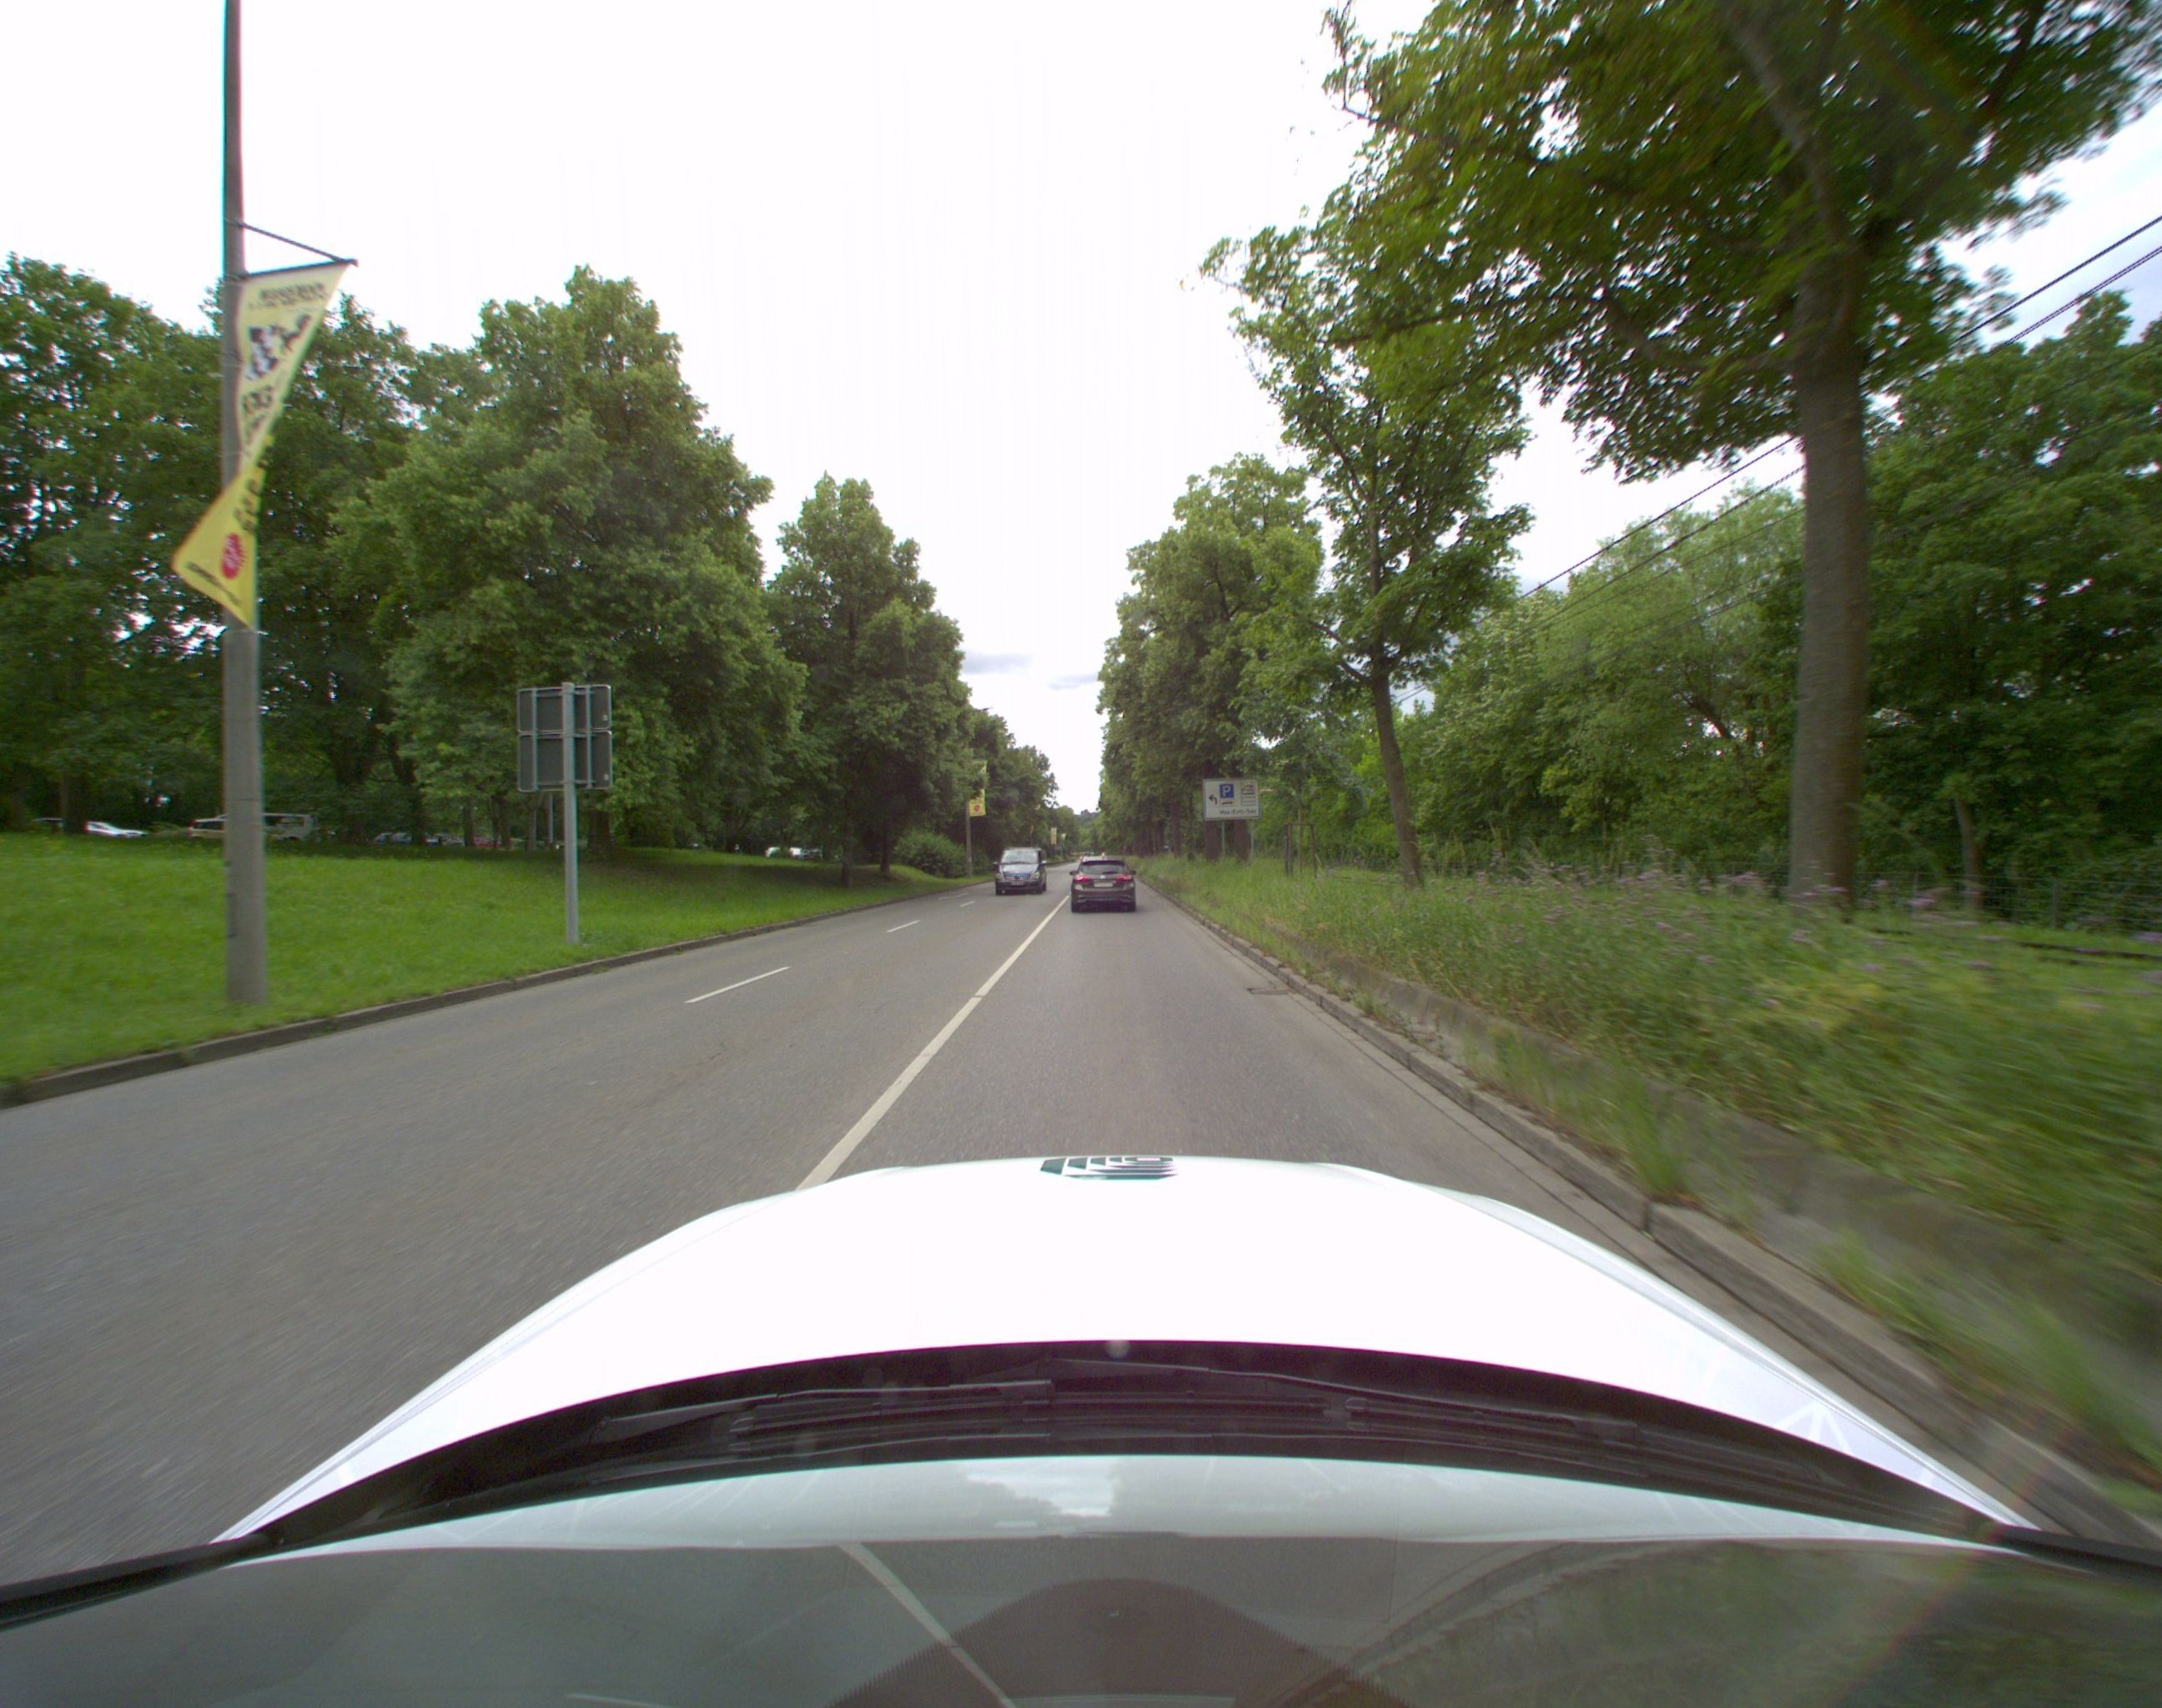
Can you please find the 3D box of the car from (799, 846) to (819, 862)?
[{"bbox_3d":[-26.338,0.029,78.823,1.653,1.486,3.970,0,0,-22],"label":"car"}]

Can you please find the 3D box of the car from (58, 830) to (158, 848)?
[{"bbox_3d":[-67.081,-1.003,56.246,3.990,1.210,1.888,0,0,-24],"label":"car"}]

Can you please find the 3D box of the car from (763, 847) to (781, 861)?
[{"bbox_3d":[-33.203,-0.003,87.503,1.653,1.486,3.970,0,0,-22],"label":"car"}]

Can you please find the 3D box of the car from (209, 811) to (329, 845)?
[{"bbox_3d":[-42.907,-1.360,43.158,4.119,1.683,1.741,0,0,-23],"label":"car"}]

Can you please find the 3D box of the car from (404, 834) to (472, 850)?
[{"bbox_3d":[-52.976,-0.984,67.199,3.990,1.210,1.888,0,0,-24],"label":"car"}]

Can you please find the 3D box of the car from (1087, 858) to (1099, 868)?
[{"bbox_3d":[1.789,1.365,123.568,1.553,1.441,3.557,0,0,6],"label":"car"}]

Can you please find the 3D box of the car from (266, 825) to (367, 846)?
[{"bbox_3d":[-46.201,-1.086,49.330,3.990,1.210,1.888,0,0,-24],"label":"car"}]

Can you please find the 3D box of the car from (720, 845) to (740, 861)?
[{"bbox_3d":[-32.420,-0.063,75.242,1.653,1.486,3.970,0,0,-22],"label":"car"}]

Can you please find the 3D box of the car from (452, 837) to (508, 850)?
[{"bbox_3d":[-57.914,-0.961,78.522,3.990,1.210,1.888,0,0,-24],"label":"car"}]

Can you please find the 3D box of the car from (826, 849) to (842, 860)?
[{"bbox_3d":[-31.886,0.078,105.128,1.653,1.486,3.970,0,0,-22],"label":"car"}]

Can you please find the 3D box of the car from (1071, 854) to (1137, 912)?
[{"bbox_3d":[0.639,0.776,23.290,1.724,1.537,3.552,0,0,1],"label":"car"}]

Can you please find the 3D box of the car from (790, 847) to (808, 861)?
[{"bbox_3d":[-30.618,-0.004,88.464,1.653,1.486,3.970,0,0,-22],"label":"car"}]

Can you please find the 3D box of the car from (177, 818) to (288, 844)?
[{"bbox_3d":[-42.063,-1.139,40.471,3.516,1.210,1.387,0,0,-27],"label":"car"}]

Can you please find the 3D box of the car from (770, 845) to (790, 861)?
[{"bbox_3d":[-28.987,-0.057,78.360,1.653,1.486,3.970,0,0,-22],"label":"car"}]

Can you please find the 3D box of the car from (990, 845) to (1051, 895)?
[{"bbox_3d":[-2.518,0.649,34.992,1.986,1.955,5.186,-2,0,2],"label":"car"}]
